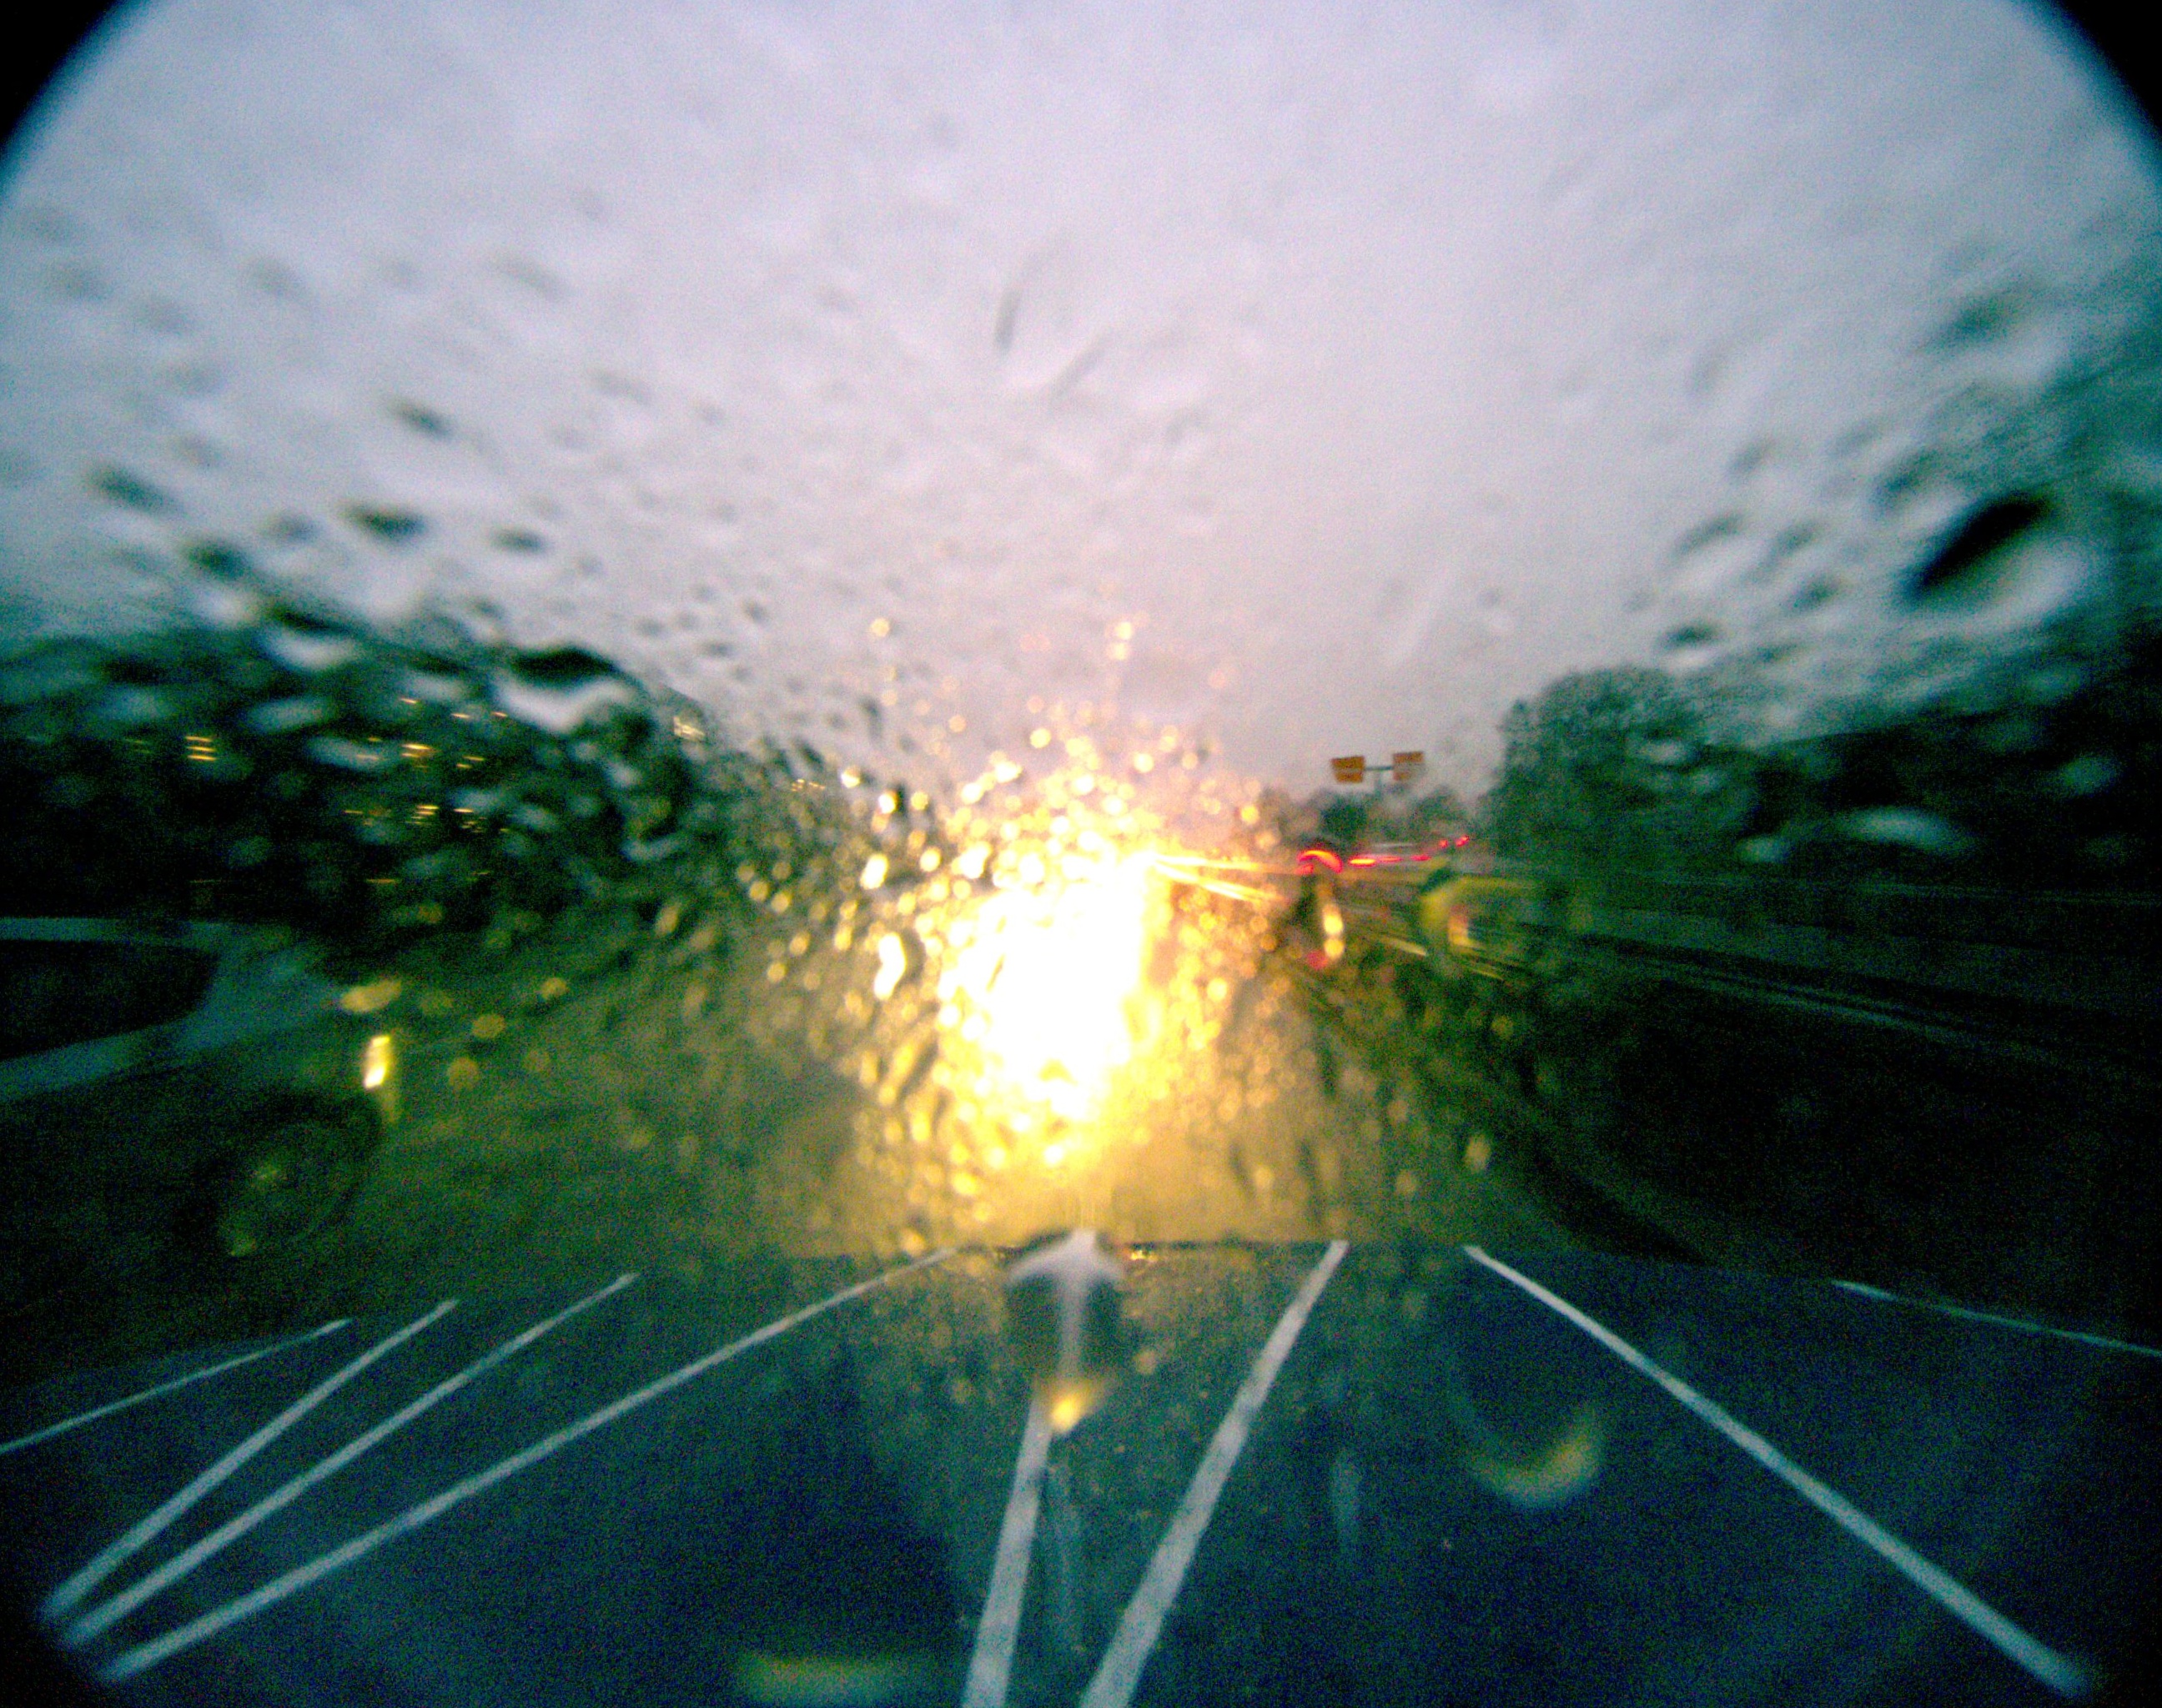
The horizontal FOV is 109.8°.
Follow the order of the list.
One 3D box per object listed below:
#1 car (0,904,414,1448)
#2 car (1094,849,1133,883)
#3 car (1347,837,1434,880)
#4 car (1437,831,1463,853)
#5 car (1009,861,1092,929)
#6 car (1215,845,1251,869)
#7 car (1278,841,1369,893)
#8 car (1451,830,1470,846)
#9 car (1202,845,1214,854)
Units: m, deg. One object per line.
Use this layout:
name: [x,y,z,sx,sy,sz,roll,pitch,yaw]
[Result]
car: [-4.147,1.048,1.433,1.854,1.493,4.262,-3,0,2]
car: [1.719,0.577,38.615,1.758,1.521,4.001,-3,1,4]
car: [12.811,0.146,31.838,1.708,1.557,4.850,-3,0,1]
car: [34.507,-1.112,71.039,1.995,1.902,4.452,-3,1,27]
car: [-0.668,0.949,19.468,1.594,1.445,4.177,-3,0,4]
car: [10.328,0.167,51.992,1.741,1.486,3.843,-3,1,2]
car: [7.952,0.374,25.347,1.620,1.475,4.599,-3,0,1]
car: [48.809,-2.087,97.709,1.995,1.902,4.453,-3,1,28]
car: [23.161,-0.843,138.490,1.841,1.547,4.356,-3,0,5]
